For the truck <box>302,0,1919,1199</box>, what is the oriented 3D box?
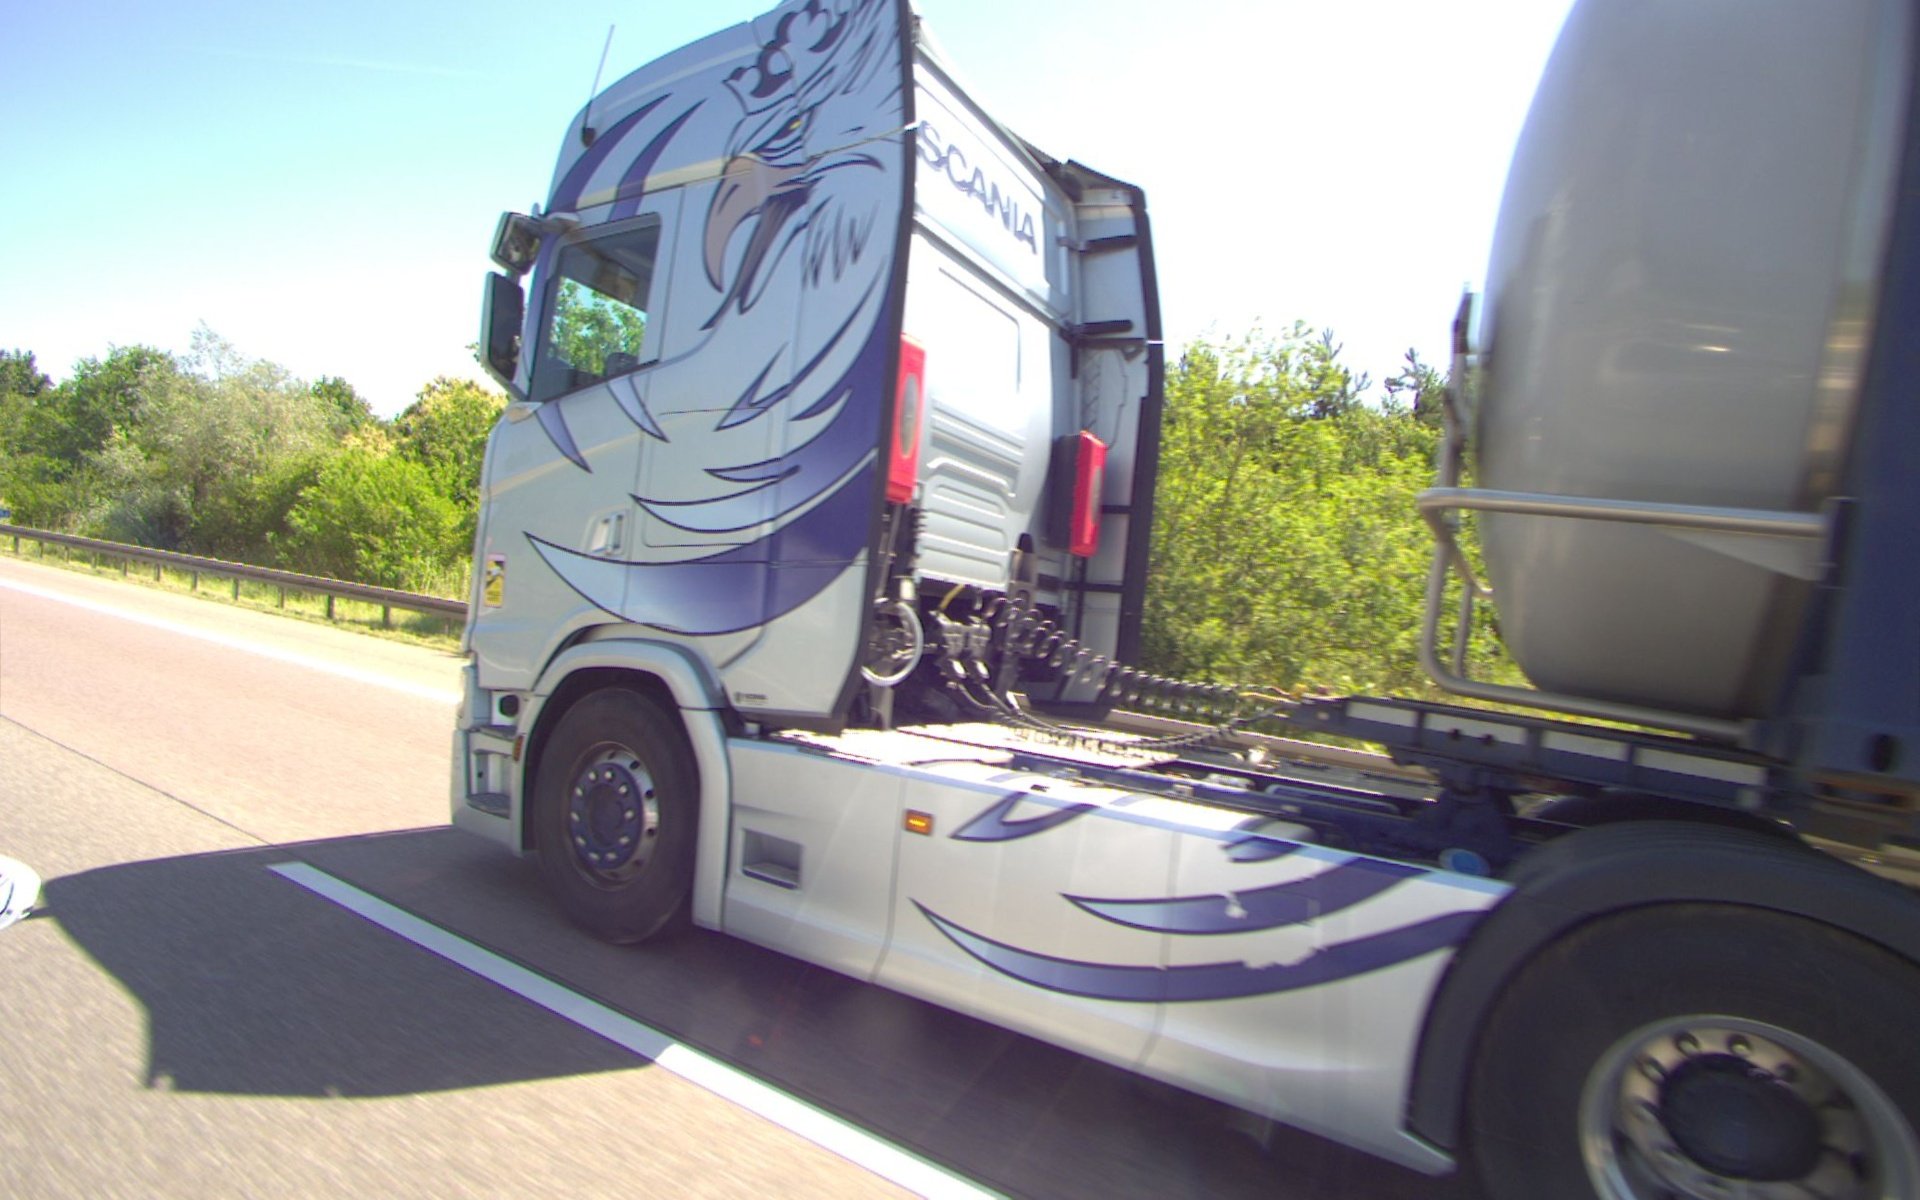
[{"bbox_3d":[3.172,-0.146,2.855,13.134,4.093,2.804,6,-1,32],"label":"truck"}]
